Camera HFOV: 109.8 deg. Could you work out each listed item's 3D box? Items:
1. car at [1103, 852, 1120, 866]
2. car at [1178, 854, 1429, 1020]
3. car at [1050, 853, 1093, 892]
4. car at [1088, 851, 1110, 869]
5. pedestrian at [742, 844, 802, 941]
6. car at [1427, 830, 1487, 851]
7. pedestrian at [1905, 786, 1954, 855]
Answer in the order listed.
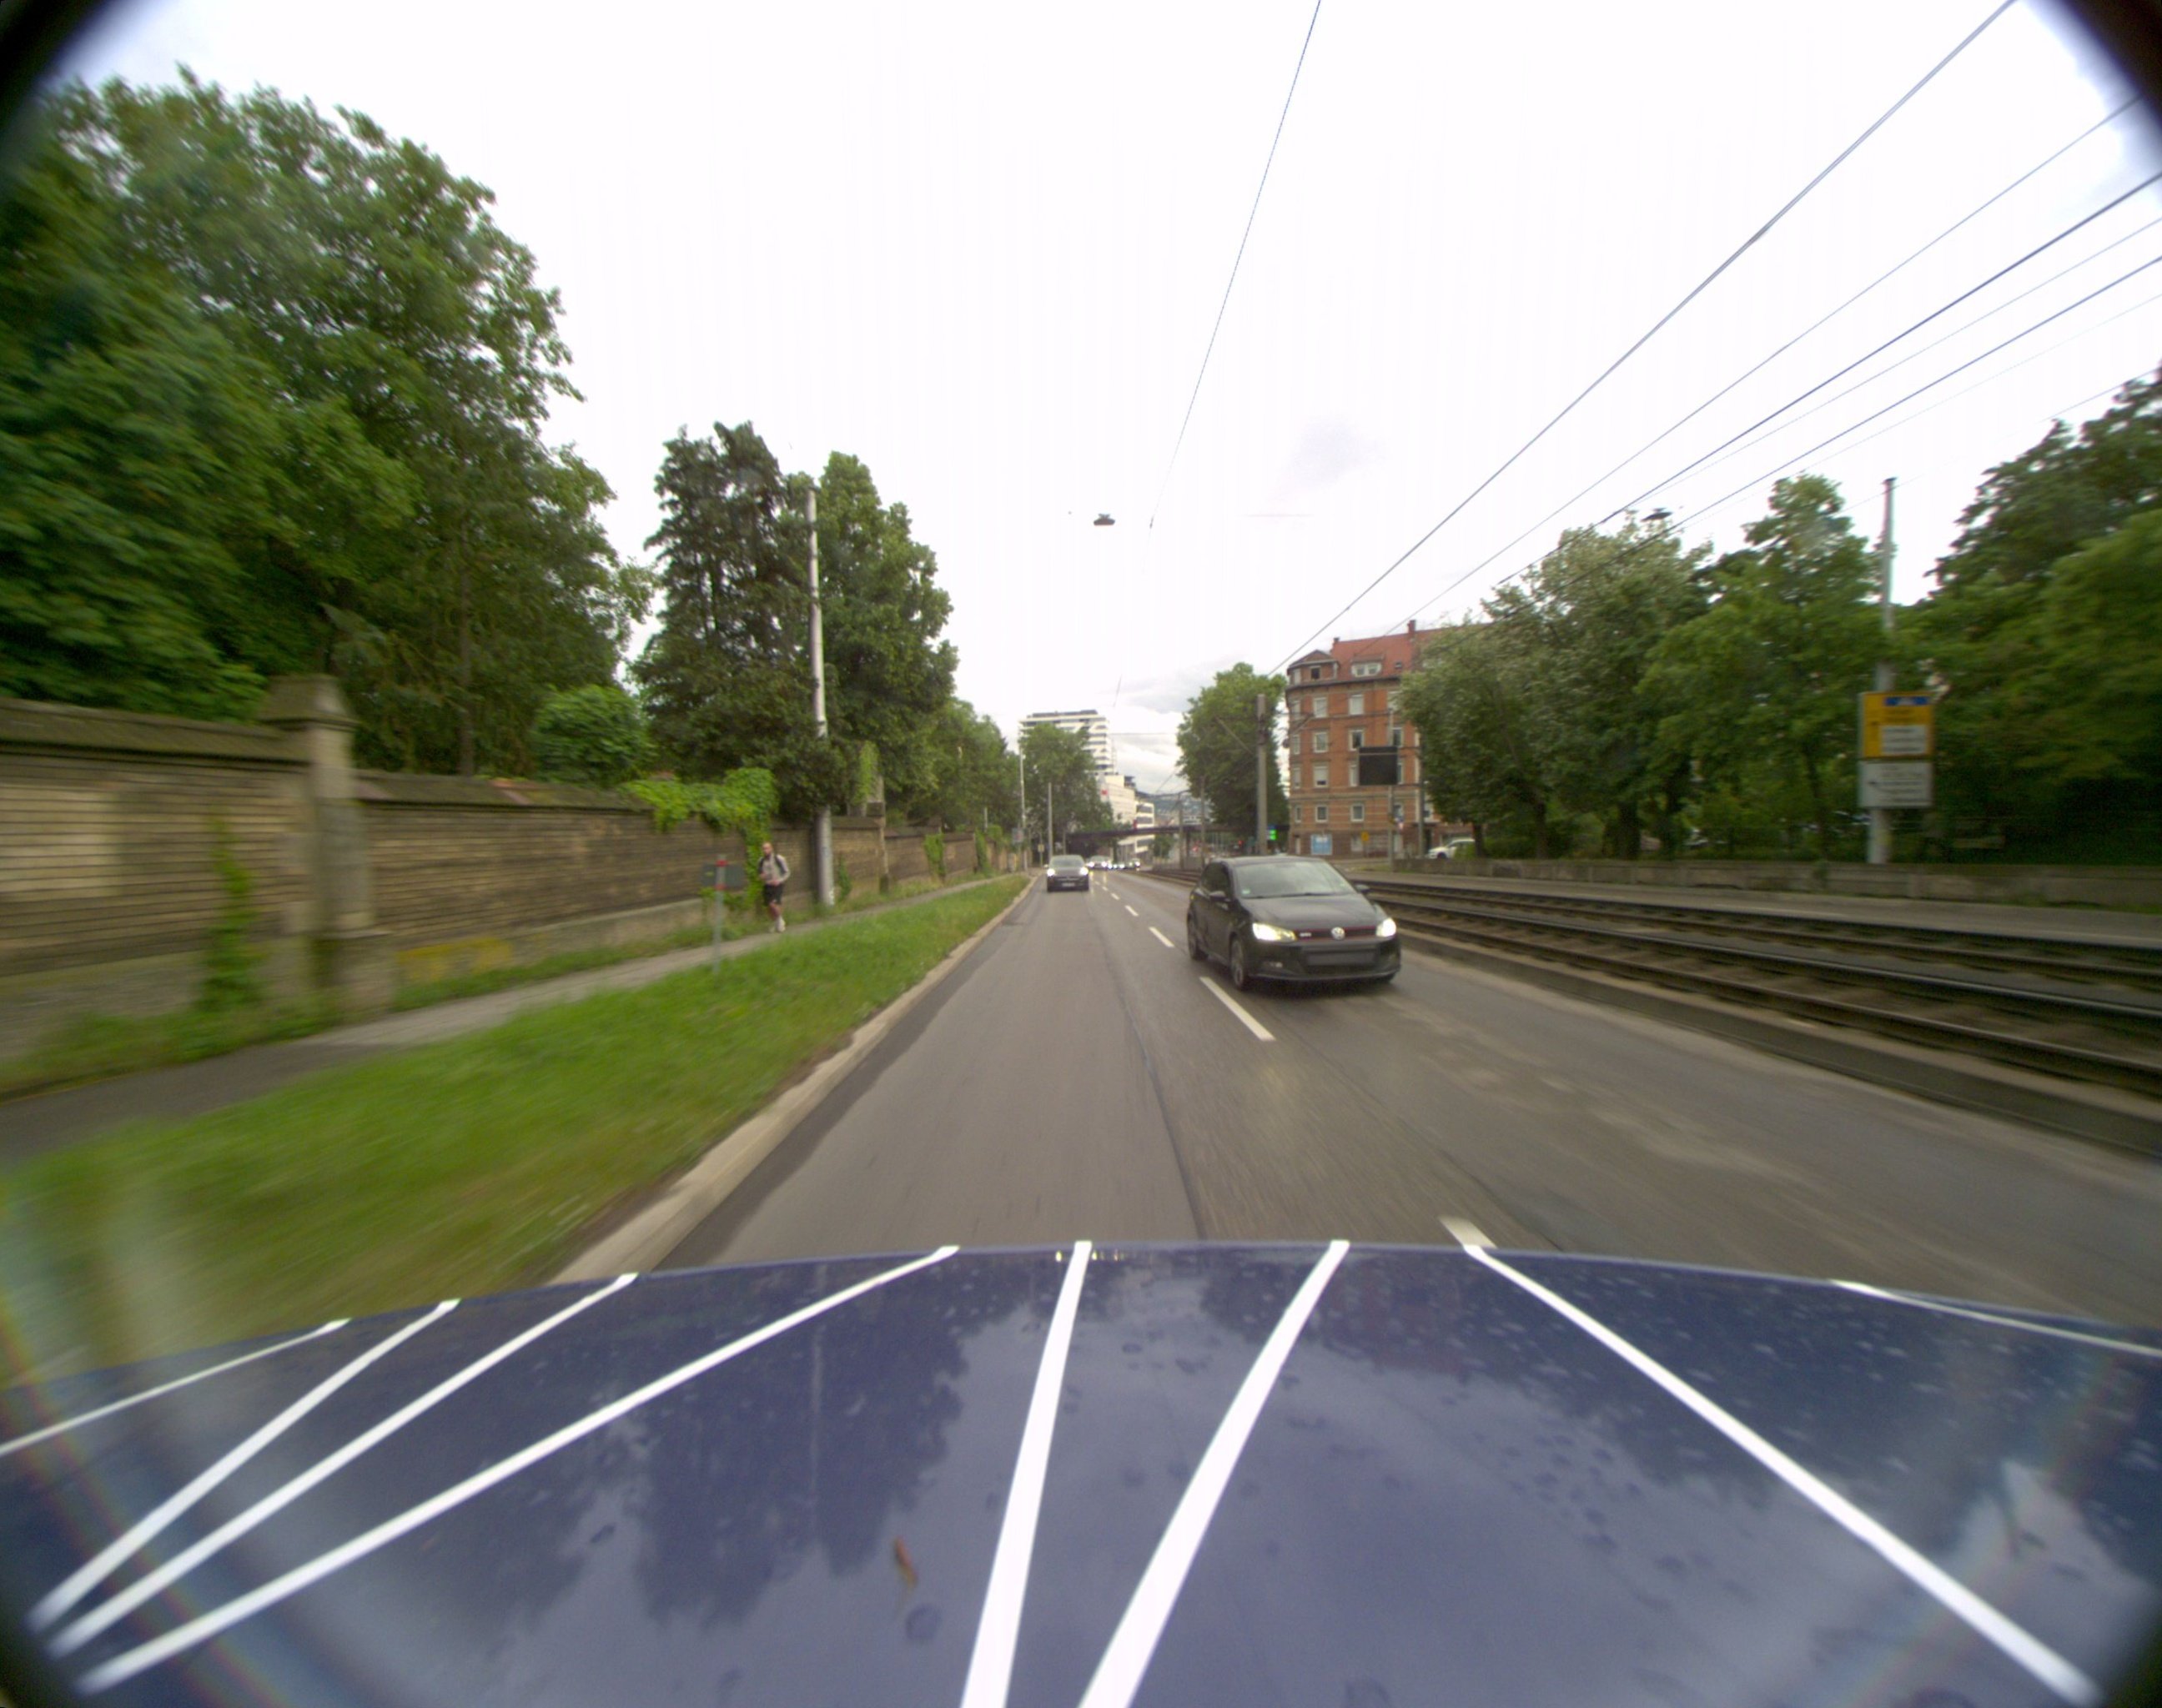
[{"bbox_3d":[3.390,0.501,84.389,1.735,1.368,4.001,-3,1,4],"label":"car"},{"bbox_3d":[2.355,0.779,9.133,1.798,1.477,3.964,-2,0,0],"label":"car"},{"bbox_3d":[-0.430,0.717,31.651,1.658,1.483,3.828,-1,0,-2],"label":"car"},{"bbox_3d":[1.640,0.545,68.488,1.640,1.368,3.574,-2,2,7],"label":"car"},{"bbox_3d":[-5.850,0.702,14.421,0.710,1.769,0.901,-2,1,-1],"label":"pedestrian"},{"bbox_3d":[31.778,-1.154,64.362,4.428,1.588,1.844,-2,1,21],"label":"car"},{"bbox_3d":[23.882,-0.941,21.390,0.597,1.892,0.654,-3,1,-2],"label":"pedestrian"}]
